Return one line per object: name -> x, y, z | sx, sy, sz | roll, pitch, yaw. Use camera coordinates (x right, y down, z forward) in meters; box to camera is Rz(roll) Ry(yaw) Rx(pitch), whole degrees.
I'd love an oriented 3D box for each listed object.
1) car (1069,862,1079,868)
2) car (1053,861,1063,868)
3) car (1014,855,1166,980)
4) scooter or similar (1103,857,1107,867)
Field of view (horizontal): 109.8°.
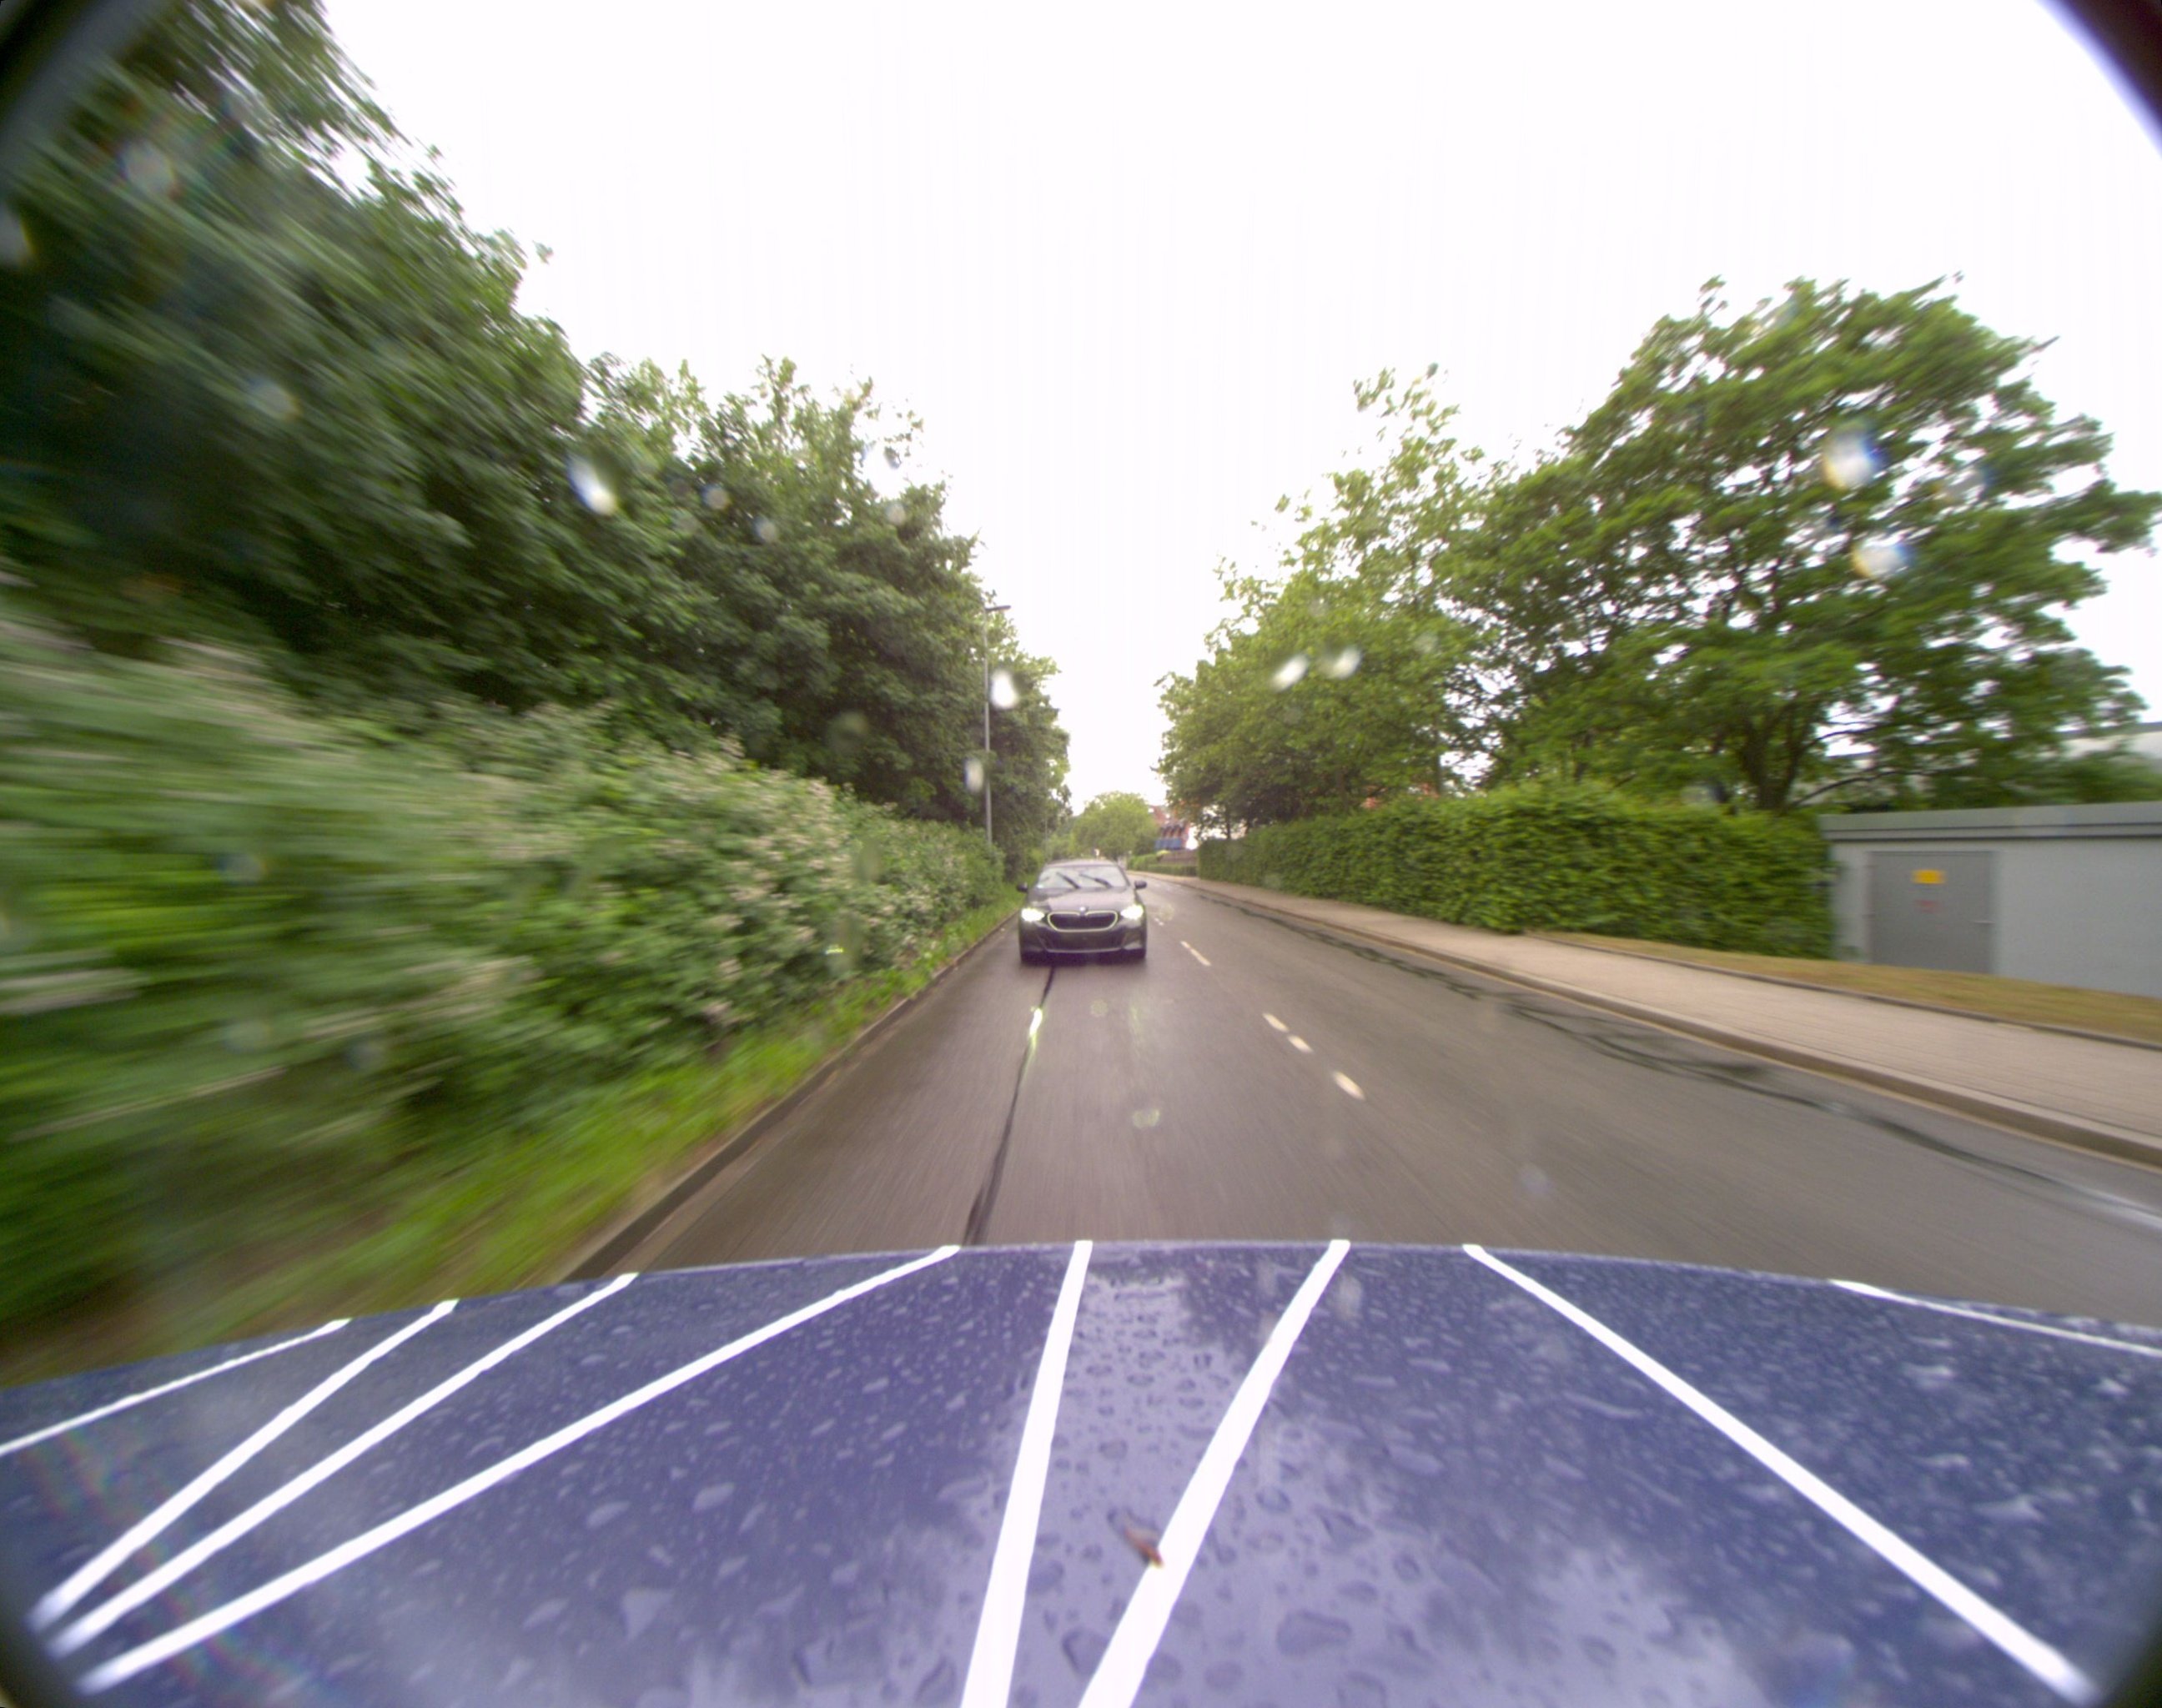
car -> -1.553, 2.476, 172.146 | 1.999, 1.411, 4.485 | 1, -1, -2
car -> -5.510, 2.552, 184.597 | 2.000, 1.420, 4.387 | 4, -3, -6
car -> -0.050, 0.908, 12.470 | 1.999, 1.586, 4.146 | -3, -1, -6
scooter or similar -> 4.467, 1.548, 144.144 | 0.402, 1.765, 1.511 | -1, 1, -10
